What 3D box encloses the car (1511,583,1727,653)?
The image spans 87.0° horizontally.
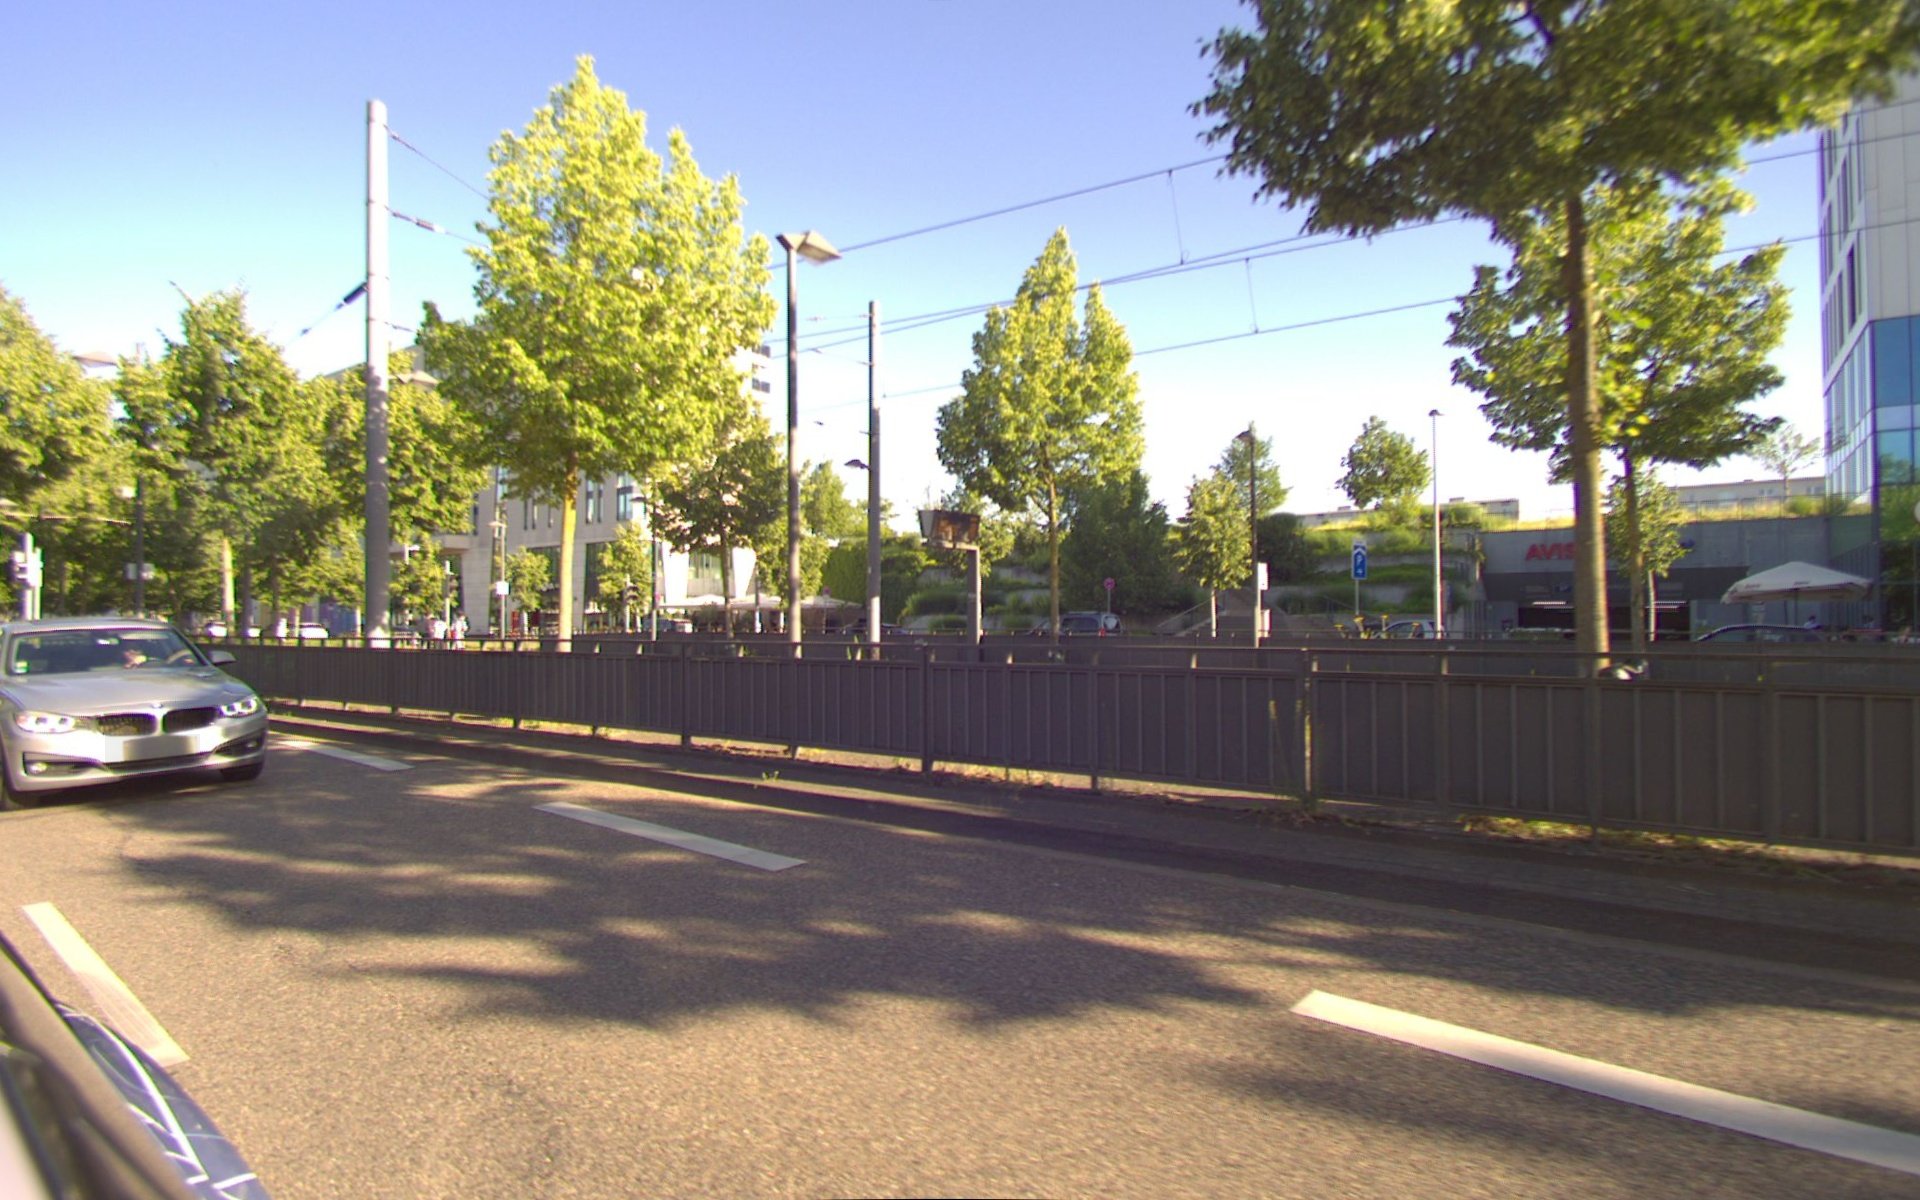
[{"bbox_3d":[17.212,0.435,26.554,4.604,1.684,1.975,-1,0,38],"label":"car"}]

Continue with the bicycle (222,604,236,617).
[{"bbox_3d":[-75.919,1.111,105.094,1.604,1.290,0.593,-1,0,35],"label":"bicycle"}]

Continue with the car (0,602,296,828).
[{"bbox_3d":[-7.981,0.847,9.341,4.272,1.590,1.864,-1,0,39],"label":"car"}]

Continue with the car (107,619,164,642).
[{"bbox_3d":[-56.880,2.094,69.797,3.990,1.497,1.977,-1,0,35],"label":"car"}]

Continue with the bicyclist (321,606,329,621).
[{"bbox_3d":[-55.047,1.172,87.738,0.718,1.313,0.364,-1,0,38],"label":"bicyclist"}]

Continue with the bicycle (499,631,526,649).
[{"bbox_3d":[-32.035,2.872,72.473,2.236,1.207,0.727,-1,0,36],"label":"bicycle"}]

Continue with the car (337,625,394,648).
[{"bbox_3d":[-41.358,2.510,70.348,4.258,1.452,1.940,-1,0,37],"label":"car"}]

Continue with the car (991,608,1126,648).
[{"bbox_3d":[3.551,0.980,36.888,4.604,1.335,1.895,-1,0,38],"label":"car"}]

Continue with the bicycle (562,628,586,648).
[{"bbox_3d":[-25.856,2.533,67.815,1.836,1.262,0.582,-1,0,37],"label":"bicycle"}]

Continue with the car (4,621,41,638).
[{"bbox_3d":[-87.724,2.738,94.709,4.162,1.583,1.974,-1,-1,39],"label":"car"}]

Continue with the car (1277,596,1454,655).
[{"bbox_3d":[12.213,0.725,30.618,4.604,1.620,1.975,-1,0,38],"label":"car"}]

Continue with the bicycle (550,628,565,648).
[{"bbox_3d":[-27.481,2.571,69.060,0.580,1.262,1.845,-1,0,-32],"label":"bicycle"}]

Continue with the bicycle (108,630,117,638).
[{"bbox_3d":[-108.285,4.355,129.341,1.847,0.996,0.611,-1,0,42],"label":"bicycle"}]

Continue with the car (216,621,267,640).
[{"bbox_3d":[-59.548,2.477,83.861,4.444,1.452,1.977,-1,0,34],"label":"car"}]

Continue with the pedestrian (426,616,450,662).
[{"bbox_3d":[-18.073,1.344,35.058,0.588,1.529,0.544,-1,0,42],"label":"pedestrian"}]

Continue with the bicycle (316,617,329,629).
[{"bbox_3d":[-55.448,1.996,88.076,1.798,1.024,0.375,-1,0,39],"label":"bicycle"}]

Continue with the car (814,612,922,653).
[{"bbox_3d":[-3.994,1.361,43.512,4.604,1.633,1.861,-1,0,38],"label":"car"}]

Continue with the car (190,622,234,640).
[{"bbox_3d":[-64.466,2.652,87.233,4.450,1.452,1.974,-1,0,38],"label":"car"}]

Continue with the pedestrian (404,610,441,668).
[{"bbox_3d":[-17.618,1.252,33.174,0.724,1.849,0.814,-1,0,34],"label":"pedestrian"}]

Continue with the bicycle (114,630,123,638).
[{"bbox_3d":[-106.148,4.231,127.668,1.846,0.960,0.574,-1,0,39],"label":"bicycle"}]

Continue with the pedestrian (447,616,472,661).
[{"bbox_3d":[-17.274,1.327,34.923,0.602,1.508,0.537,-1,0,40],"label":"pedestrian"}]

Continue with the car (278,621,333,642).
[{"bbox_3d":[-49.995,2.397,77.275,4.444,1.452,1.977,-1,0,34],"label":"car"}]

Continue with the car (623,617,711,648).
[{"bbox_3d":[-14.647,1.609,50.433,4.604,1.445,1.861,-1,-1,38],"label":"car"}]
